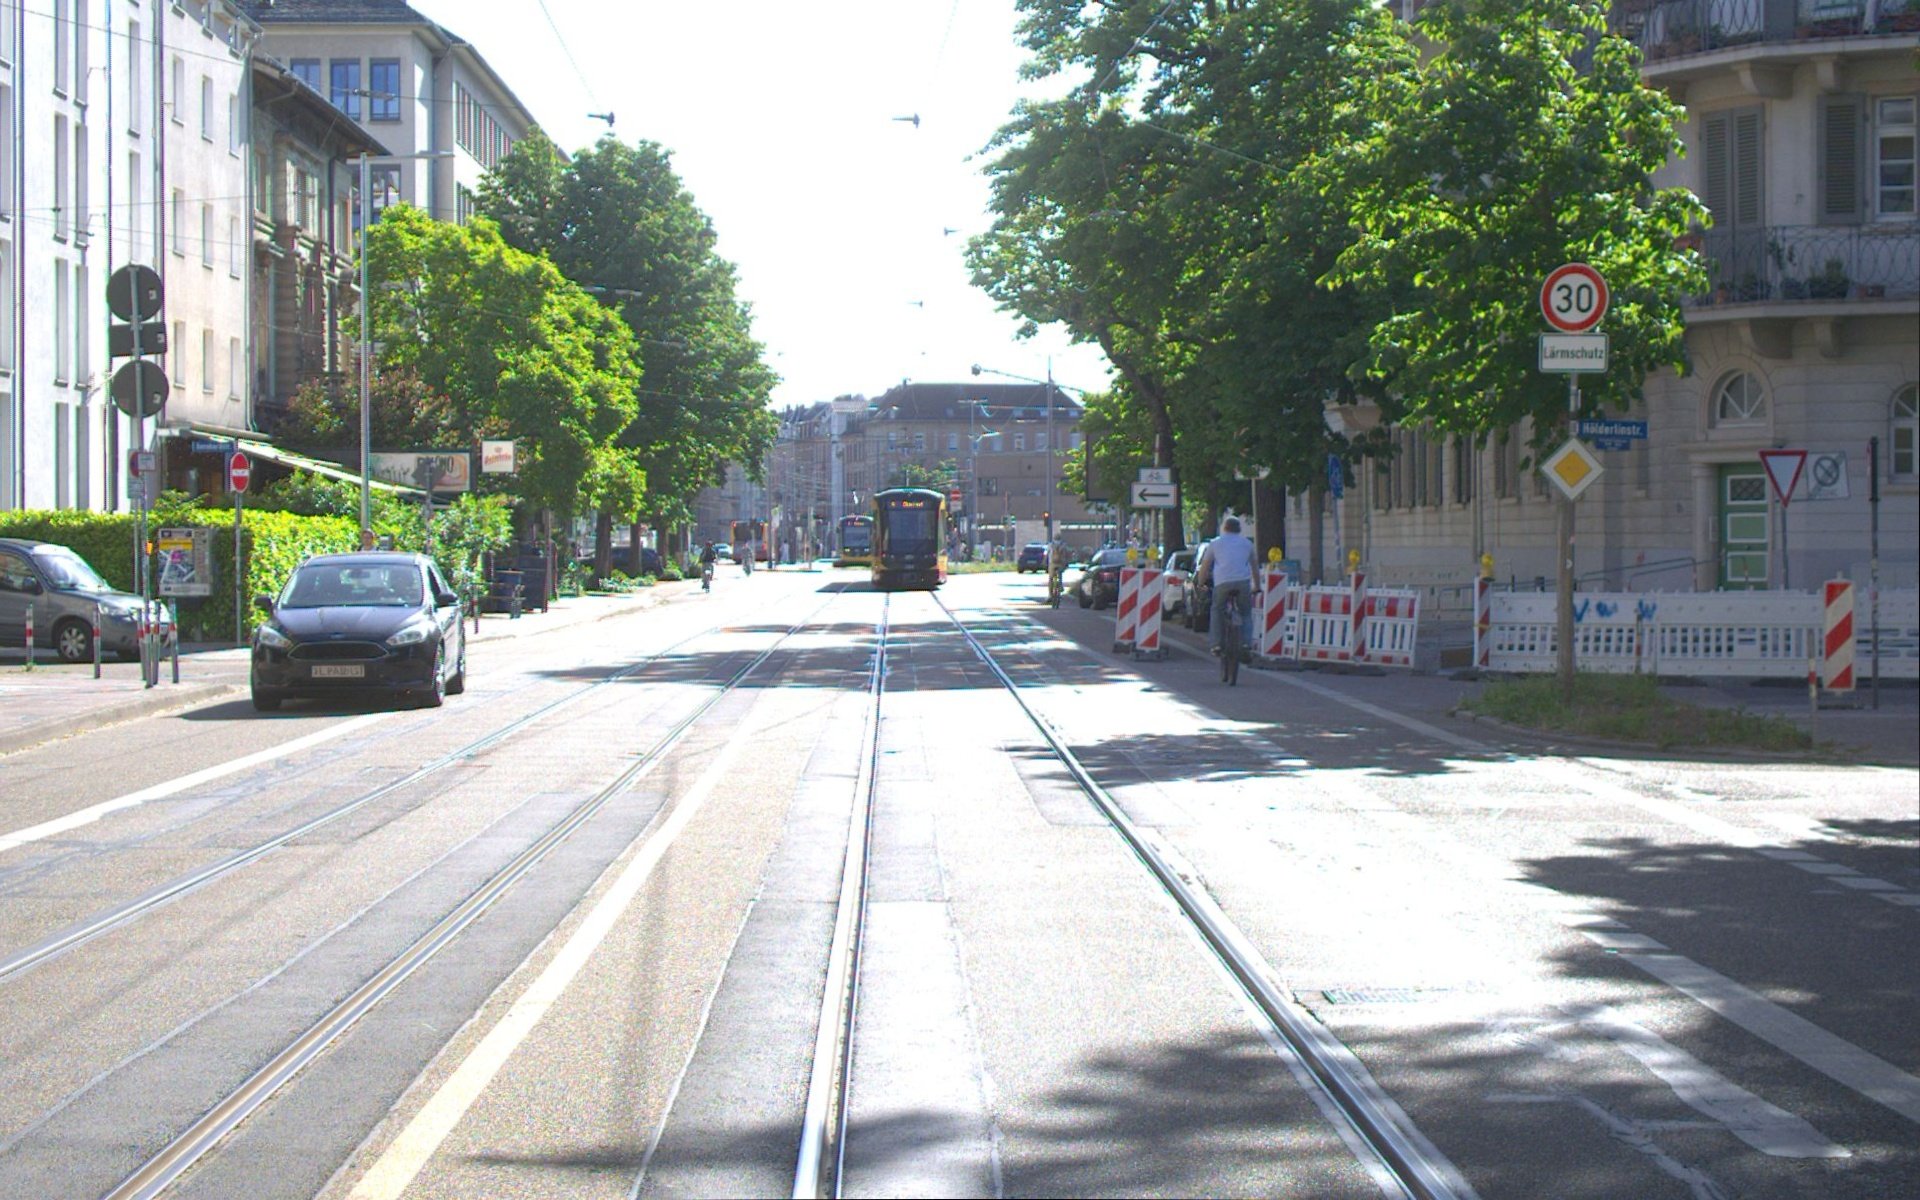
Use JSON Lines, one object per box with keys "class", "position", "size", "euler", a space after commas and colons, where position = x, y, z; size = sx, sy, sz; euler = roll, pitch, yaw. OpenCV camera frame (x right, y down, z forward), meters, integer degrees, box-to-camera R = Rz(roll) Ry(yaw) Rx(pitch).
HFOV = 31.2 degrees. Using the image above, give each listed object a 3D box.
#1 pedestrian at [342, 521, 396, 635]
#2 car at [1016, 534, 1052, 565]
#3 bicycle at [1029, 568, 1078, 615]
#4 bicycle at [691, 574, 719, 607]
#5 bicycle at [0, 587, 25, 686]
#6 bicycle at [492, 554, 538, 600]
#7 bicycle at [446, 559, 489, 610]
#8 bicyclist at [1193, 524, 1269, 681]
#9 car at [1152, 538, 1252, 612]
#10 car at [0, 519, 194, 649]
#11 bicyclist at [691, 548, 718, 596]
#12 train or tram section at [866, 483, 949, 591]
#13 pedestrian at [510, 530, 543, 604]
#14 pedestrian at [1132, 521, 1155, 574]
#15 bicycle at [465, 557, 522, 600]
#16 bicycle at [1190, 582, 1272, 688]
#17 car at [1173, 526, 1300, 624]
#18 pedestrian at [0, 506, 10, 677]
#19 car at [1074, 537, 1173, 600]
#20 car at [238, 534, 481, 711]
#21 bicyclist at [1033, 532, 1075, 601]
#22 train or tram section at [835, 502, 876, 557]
{"class": "pedestrian", "position": [-9.208, -0.346, 53.573], "size": [0.691, 1.762, 0.866], "euler": [0, 1, 0]}
{"class": "car", "position": [4.003, -2.755, 186.231], "size": [1.789, 1.599, 3.712], "euler": [1, 1, 3]}
{"class": "bicycle", "position": [2.309, -0.216, 84.989], "size": [0.705, 1.101, 1.715], "euler": [2, 2, 19]}
{"class": "bicycle", "position": [-8.786, -0.341, 118.503], "size": [0.745, 1.078, 1.899], "euler": [-3, 1, 0]}
{"class": "bicycle", "position": [-9.873, 0.368, 34.460], "size": [0.527, 0.978, 1.778], "euler": [0, 1, -1]}
{"class": "bicycle", "position": [-11.250, -0.590, 87.001], "size": [0.646, 1.139, 1.904], "euler": [2, 1, 7]}
{"class": "bicycle", "position": [-10.688, -0.336, 74.580], "size": [0.638, 1.055, 1.743], "euler": [2, 1, 0]}
{"class": "bicyclist", "position": [2.964, 0.021, 37.677], "size": [0.738, 1.680, 0.972], "euler": [1, 1, 1]}
{"class": "car", "position": [4.824, -0.518, 68.981], "size": [1.724, 1.377, 4.356], "euler": [-2, 1, 1]}
{"class": "car", "position": [-13.243, -0.208, 49.401], "size": [4.045, 1.801, 1.790], "euler": [0, 0, 20]}
{"class": "bicyclist", "position": [-8.797, -0.972, 118.286], "size": [0.745, 1.594, 1.118], "euler": [-3, 1, 0]}
{"class": "train or tram section", "position": [-1.941, -2.288, 122.511], "size": [2.742, 3.639, 13.787], "euler": [0, 1, -2]}
{"class": "pedestrian", "position": [-10.724, -0.819, 85.128], "size": [0.576, 1.825, 0.689], "euler": [0, 1, 18]}
{"class": "pedestrian", "position": [6.468, -1.846, 121.384], "size": [0.683, 1.843, 0.955], "euler": [-2, 1, -2]}
{"class": "bicycle", "position": [-11.574, -0.542, 85.359], "size": [0.637, 1.042, 2.020], "euler": [0, 1, 16]}
{"class": "bicycle", "position": [2.955, 0.365, 37.695], "size": [0.738, 1.090, 2.111], "euler": [1, 1, 1]}
{"class": "car", "position": [4.884, -0.476, 61.324], "size": [1.810, 1.620, 4.584], "euler": [-2, 1, 0]}
{"class": "pedestrian", "position": [-10.260, -0.095, 35.891], "size": [0.557, 1.775, 0.539], "euler": [0, 1, -4]}
{"class": "car", "position": [4.035, -0.805, 85.549], "size": [1.821, 1.453, 4.819], "euler": [-2, 1, -4]}
{"class": "car", "position": [-5.876, 0.169, 34.131], "size": [1.864, 1.571, 4.589], "euler": [-2, 1, -4]}
{"class": "bicyclist", "position": [2.323, -0.828, 84.976], "size": [0.705, 1.669, 1.100], "euler": [2, 2, 19]}
{"class": "train or tram section", "position": [-7.223, -4.887, 237.020], "size": [2.742, 3.639, 13.787], "euler": [0, 1, -2]}
